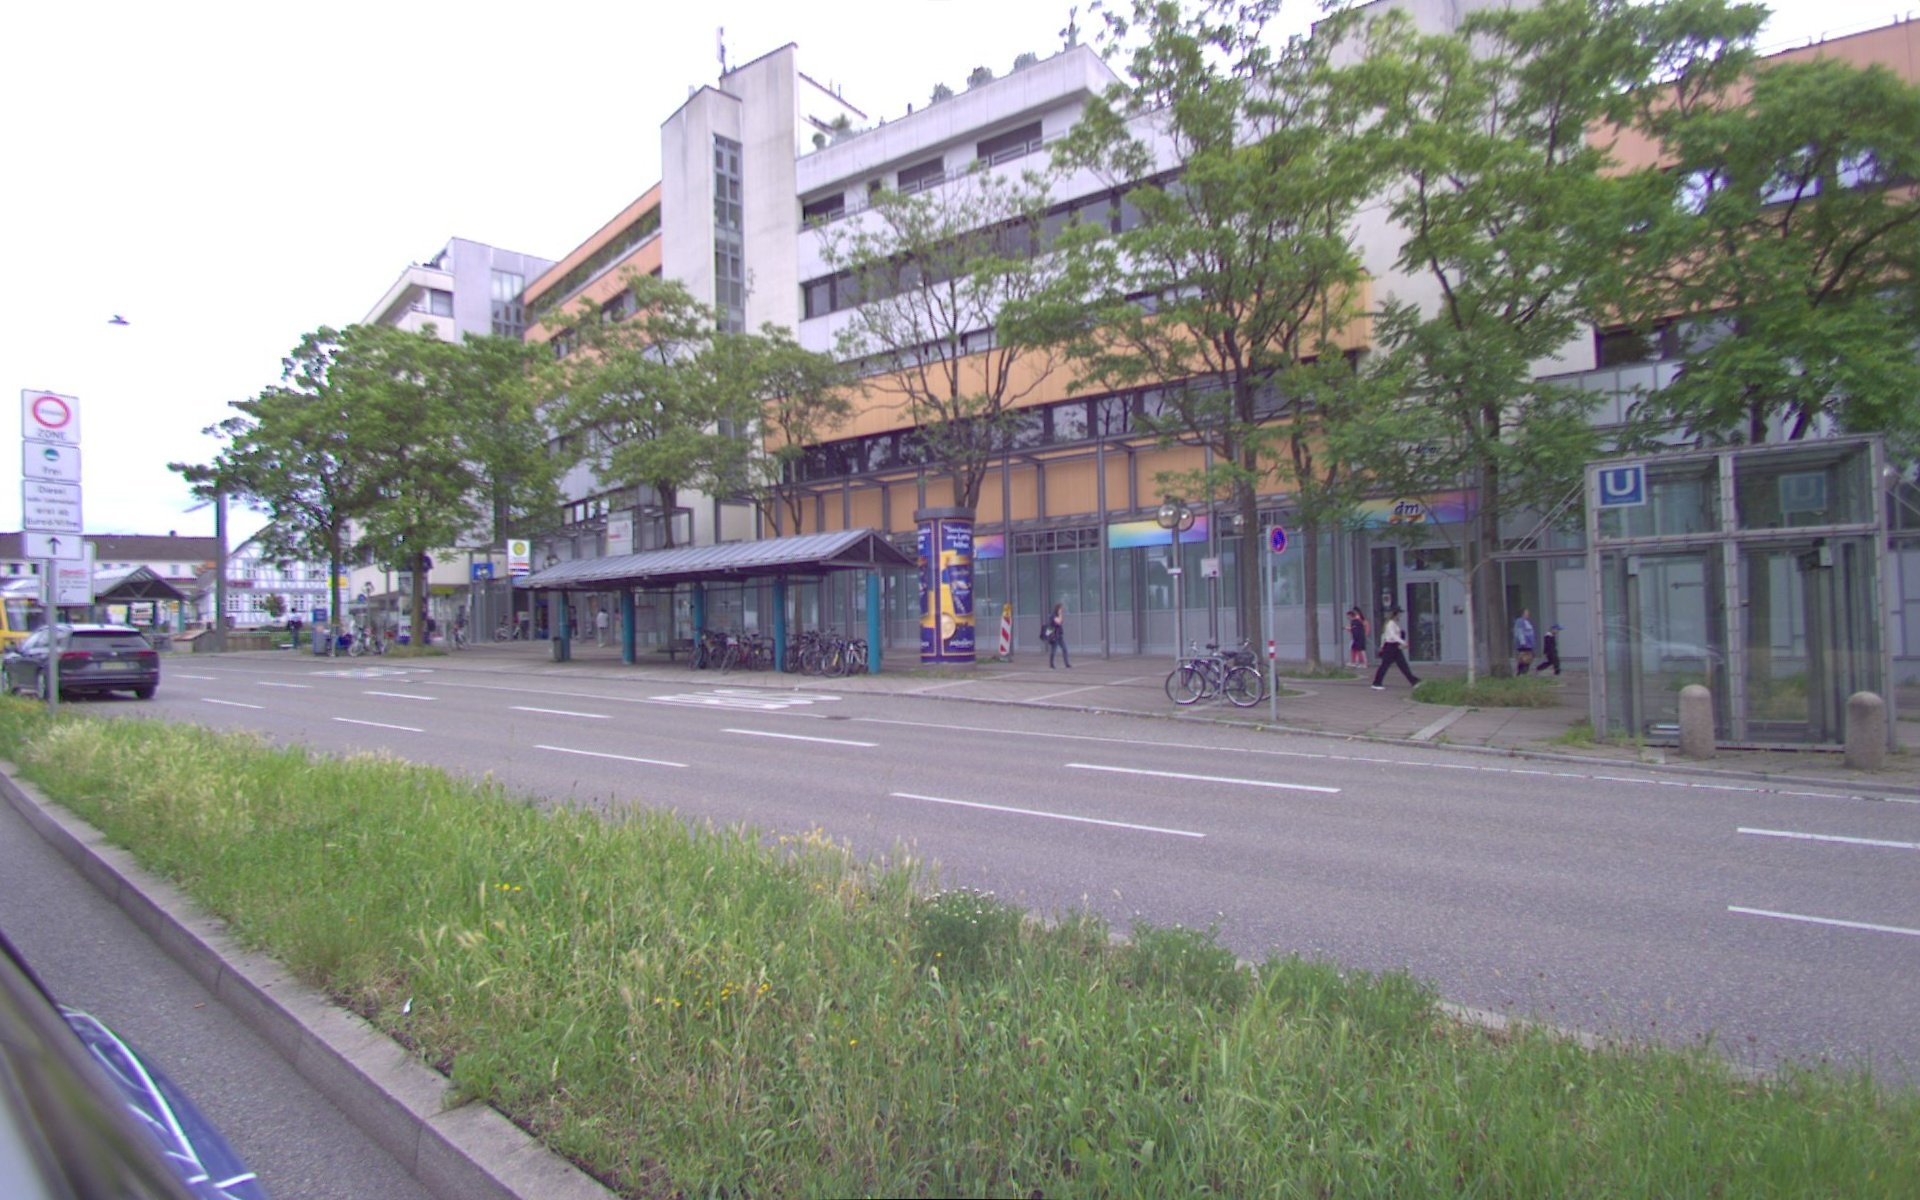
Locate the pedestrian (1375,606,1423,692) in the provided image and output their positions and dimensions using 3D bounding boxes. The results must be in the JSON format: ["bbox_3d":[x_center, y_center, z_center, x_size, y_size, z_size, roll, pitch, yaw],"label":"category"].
[{"bbox_3d":[8.751,0.962,20.178,0.721,1.662,0.669,-1,-1,37],"label":"pedestrian"}]

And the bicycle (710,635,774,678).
[{"bbox_3d":[-5.956,1.527,27.720,0.549,1.048,1.714,-2,1,38],"label":"bicycle"}]

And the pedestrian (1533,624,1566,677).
[{"bbox_3d":[13.329,1.134,22.891,0.620,1.190,0.418,-1,-2,31],"label":"pedestrian"}]

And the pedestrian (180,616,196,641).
[{"bbox_3d":[-62.595,2.307,82.070,0.867,2.029,1.010,1,-2,-44],"label":"pedestrian"}]

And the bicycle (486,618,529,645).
[{"bbox_3d":[-24.942,1.721,55.788,2.107,1.385,0.621,-1,0,-31],"label":"bicycle"}]

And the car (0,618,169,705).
[{"bbox_3d":[-17.454,1.167,19.907,4.278,1.492,1.695,0,-4,35],"label":"car"}]

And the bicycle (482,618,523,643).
[{"bbox_3d":[-26.090,1.732,57.766,2.106,1.377,0.621,-1,0,-24],"label":"bicycle"}]

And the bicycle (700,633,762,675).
[{"bbox_3d":[-6.451,1.510,28.583,0.549,1.048,1.714,-2,1,38],"label":"bicycle"}]

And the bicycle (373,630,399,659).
[{"bbox_3d":[-22.742,1.750,40.109,0.584,1.085,2.044,0,-1,-21],"label":"bicycle"}]

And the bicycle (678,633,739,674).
[{"bbox_3d":[-7.229,1.533,29.148,0.549,1.048,1.714,-2,0,38],"label":"bicycle"}]

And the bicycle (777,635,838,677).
[{"bbox_3d":[-4.134,1.513,27.559,0.549,1.048,1.714,-2,-1,38],"label":"bicycle"}]

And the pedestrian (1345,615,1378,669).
[{"bbox_3d":[10.455,1.077,26.363,0.694,1.385,0.578,-1,-2,34],"label":"pedestrian"}]

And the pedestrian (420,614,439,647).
[{"bbox_3d":[-30.082,1.749,57.383,0.752,1.859,0.755,-1,-2,41],"label":"pedestrian"}]

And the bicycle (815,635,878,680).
[{"bbox_3d":[-2.900,1.472,26.059,0.549,1.048,1.714,-2,0,38],"label":"bicycle"}]

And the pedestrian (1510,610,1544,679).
[{"bbox_3d":[12.610,0.982,22.489,0.620,1.515,0.563,-1,-2,31],"label":"pedestrian"}]

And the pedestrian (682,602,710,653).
[{"bbox_3d":[-10.680,1.105,40.935,0.792,2.029,0.702,-1,0,34],"label":"pedestrian"}]

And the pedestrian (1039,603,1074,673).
[{"bbox_3d":[2.524,0.996,26.439,0.769,1.800,0.525,-1,-2,33],"label":"pedestrian"}]

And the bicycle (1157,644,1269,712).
[{"bbox_3d":[4.371,1.323,17.596,0.802,1.068,1.739,0,-1,-40],"label":"bicycle"}]

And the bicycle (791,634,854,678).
[{"bbox_3d":[-3.610,1.456,26.592,0.549,1.048,1.714,-2,0,38],"label":"bicycle"}]

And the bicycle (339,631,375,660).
[{"bbox_3d":[-23.609,1.763,39.652,0.585,1.085,2.042,0,-1,-12],"label":"bicycle"}]

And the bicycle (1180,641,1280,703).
[{"bbox_3d":[4.988,1.311,18.788,1.737,1.074,0.542,-2,-1,45],"label":"bicycle"}]

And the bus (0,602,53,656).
[{"bbox_3d":[-55.976,1.680,58.618,8.470,3.006,2.530,-1,-2,29],"label":"bus"}]

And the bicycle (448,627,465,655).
[{"bbox_3d":[-21.346,1.704,42.929,0.584,1.134,2.044,1,-1,-26],"label":"bicycle"}]

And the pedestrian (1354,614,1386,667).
[{"bbox_3d":[10.897,1.071,26.892,0.694,1.385,0.578,-1,-2,34],"label":"pedestrian"}]

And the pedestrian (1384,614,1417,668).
[{"bbox_3d":[11.469,1.064,26.336,0.694,1.385,0.578,-1,-2,34],"label":"pedestrian"}]

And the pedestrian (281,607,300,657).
[{"bbox_3d":[-31.234,1.489,47.209,0.608,2.325,0.583,-1,-2,39],"label":"pedestrian"}]

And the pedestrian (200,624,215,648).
[{"bbox_3d":[-50.036,2.389,67.298,0.581,1.554,0.570,-1,-2,32],"label":"pedestrian"}]

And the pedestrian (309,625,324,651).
[{"bbox_3d":[-38.699,2.301,60.841,0.581,1.554,0.570,-1,-2,32],"label":"pedestrian"}]

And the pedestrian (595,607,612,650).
[{"bbox_3d":[-15.468,1.239,43.906,0.639,1.823,0.761,0,-2,-16],"label":"pedestrian"}]

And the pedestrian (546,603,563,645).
[{"bbox_3d":[-19.658,1.146,49.026,0.558,2.029,0.611,1,-2,-44],"label":"pedestrian"}]

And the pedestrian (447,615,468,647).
[{"bbox_3d":[-26.797,1.654,53.937,0.752,1.695,0.755,-1,-2,41],"label":"pedestrian"}]

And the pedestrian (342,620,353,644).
[{"bbox_3d":[-31.013,1.614,51.209,0.368,1.188,0.338,-1,-2,31],"label":"pedestrian"}]

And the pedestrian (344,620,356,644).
[{"bbox_3d":[-39.931,2.095,66.243,0.548,1.506,0.454,1,-2,-41],"label":"pedestrian"}]
